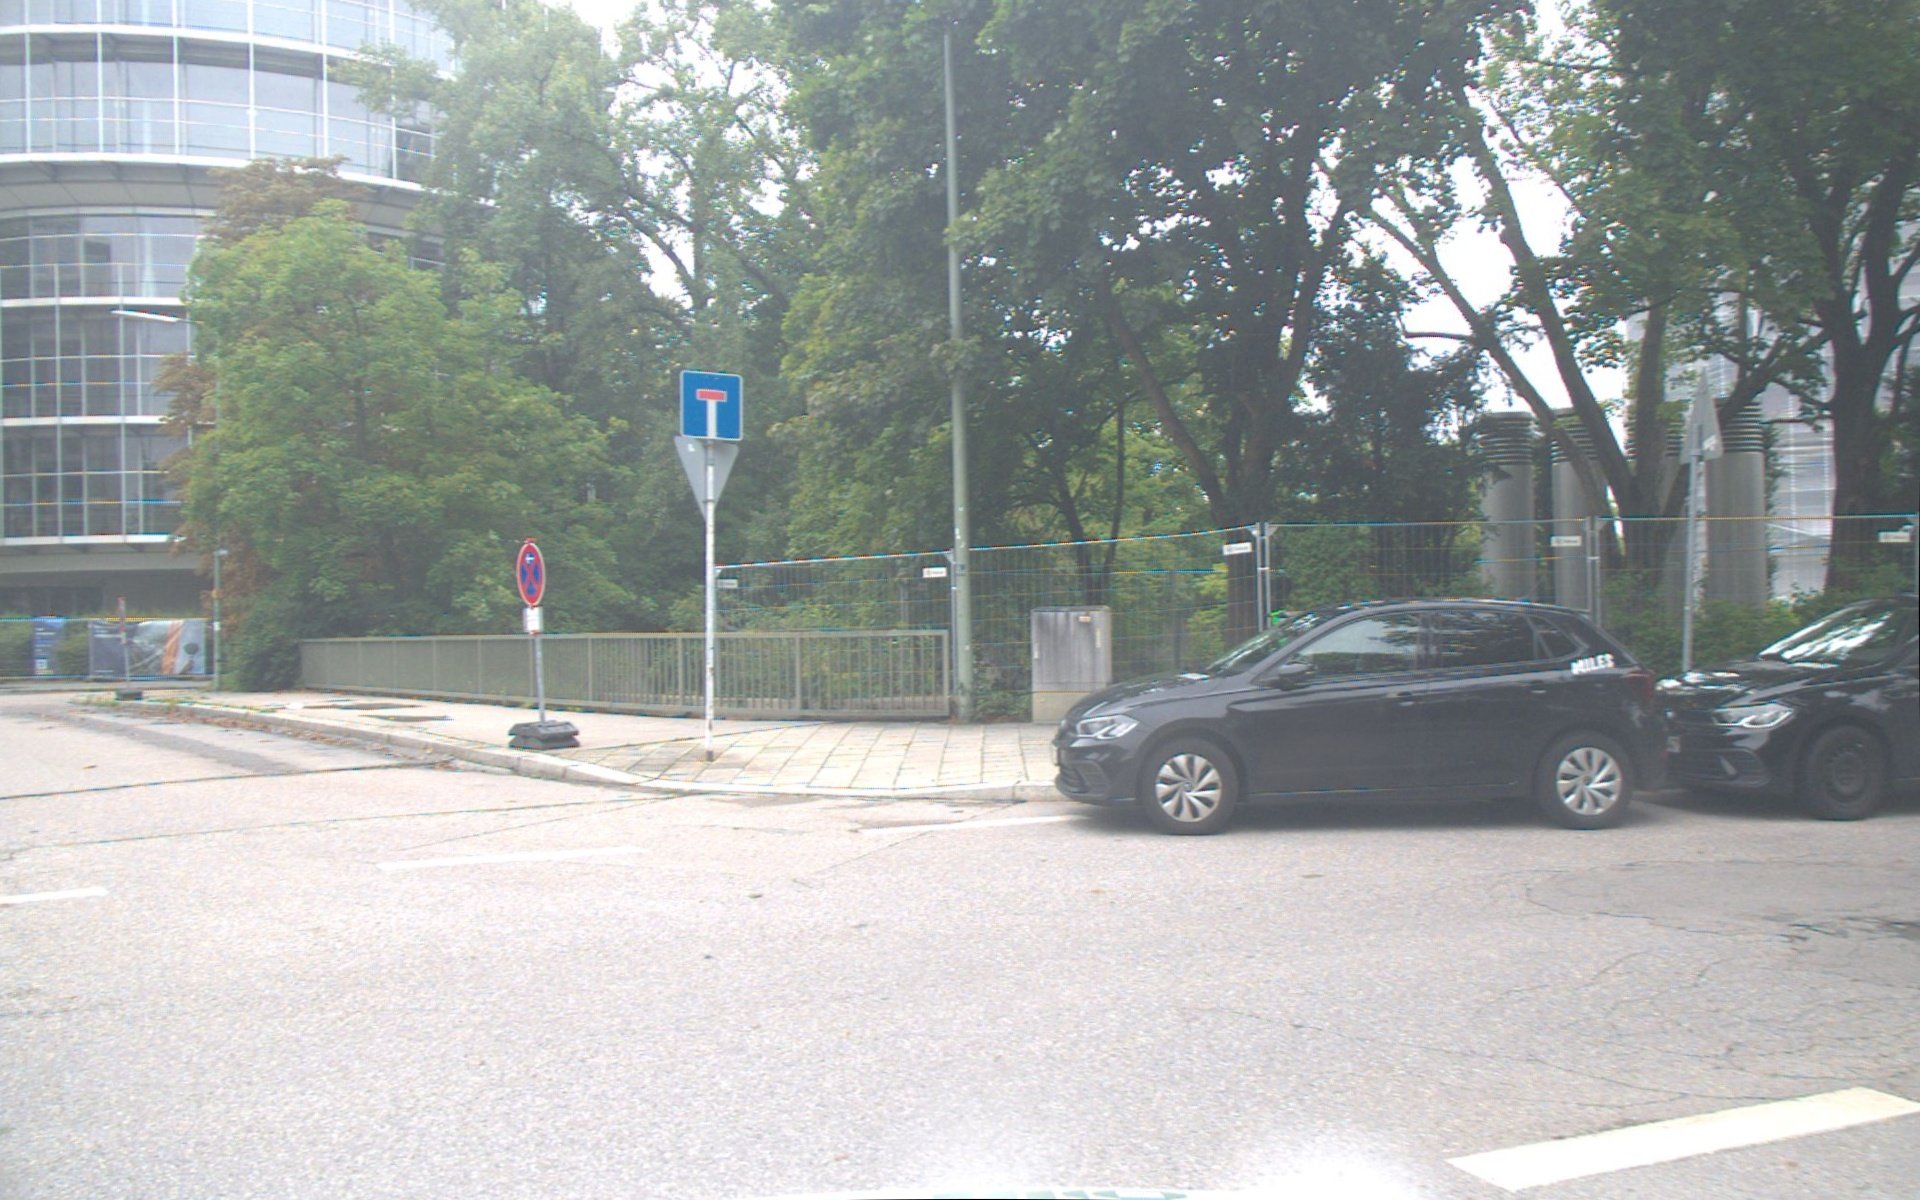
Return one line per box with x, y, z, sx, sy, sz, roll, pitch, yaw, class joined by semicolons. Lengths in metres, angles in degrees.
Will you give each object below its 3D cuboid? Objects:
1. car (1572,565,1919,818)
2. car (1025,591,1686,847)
6.606;0.539;11.546;3.908;1.568;1.999;-1;1;-4;car
2.503;0.717;11.198;3.949;1.457;1.999;-1;1;-3;car
